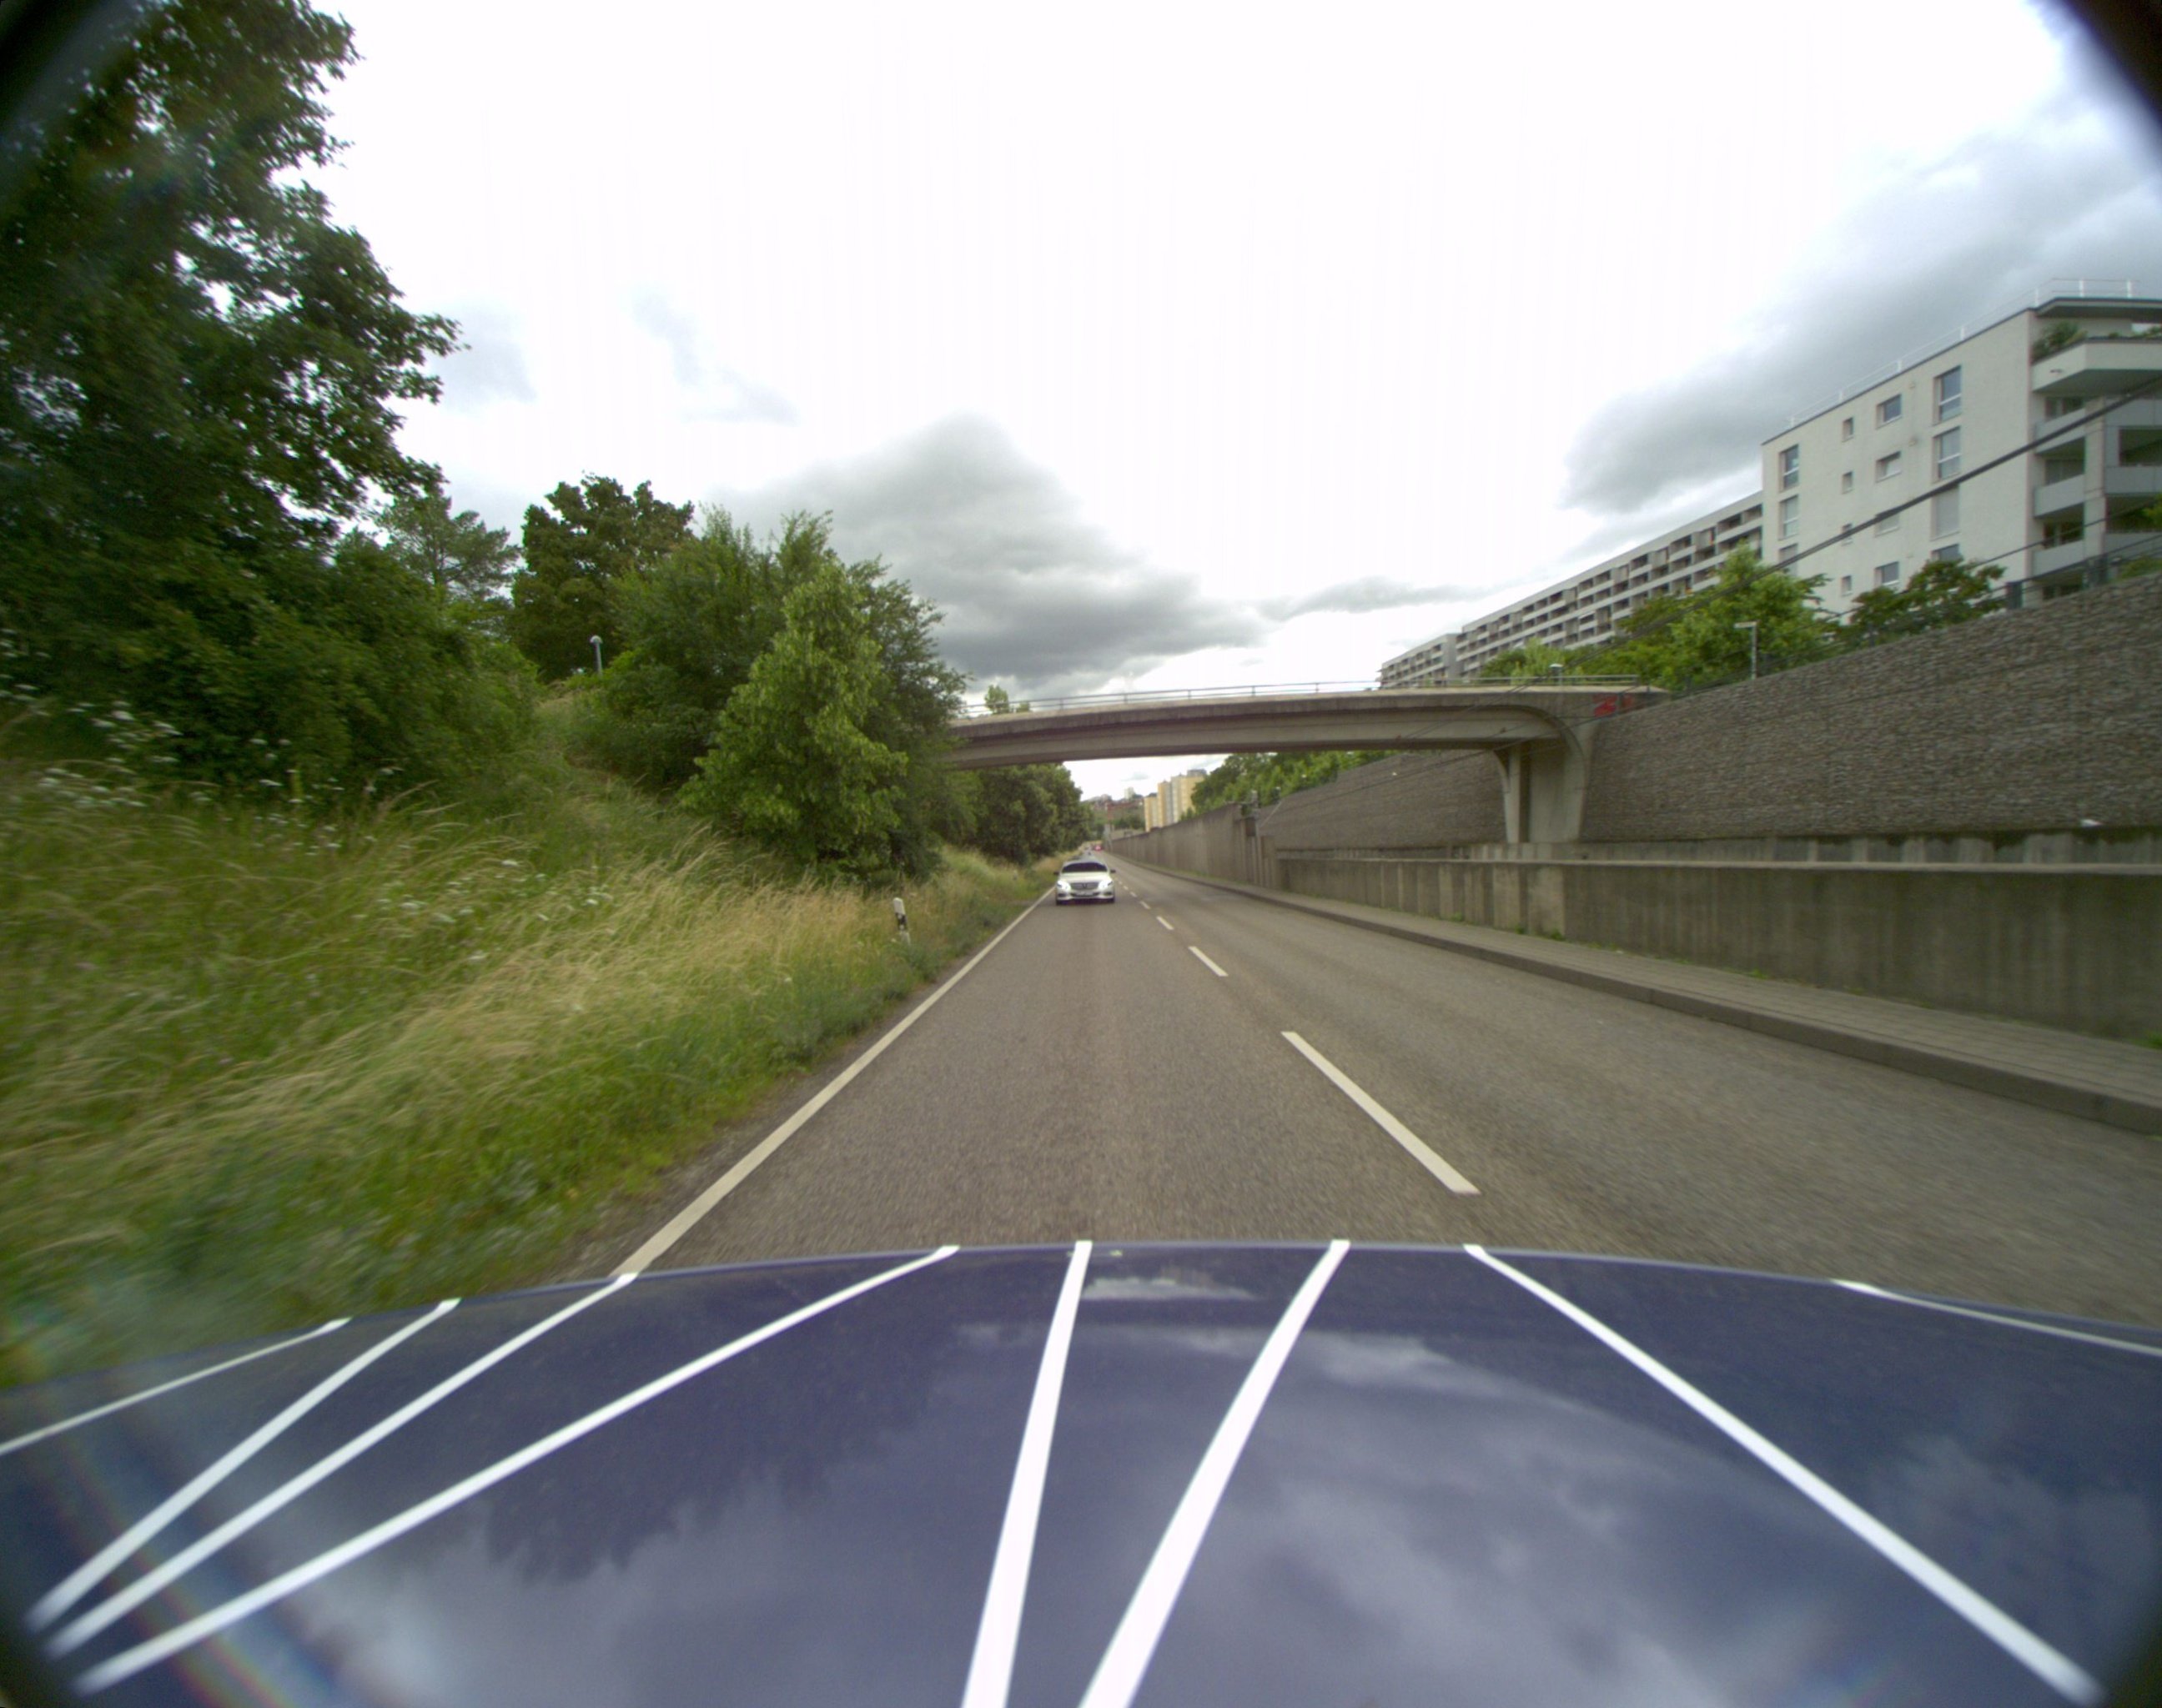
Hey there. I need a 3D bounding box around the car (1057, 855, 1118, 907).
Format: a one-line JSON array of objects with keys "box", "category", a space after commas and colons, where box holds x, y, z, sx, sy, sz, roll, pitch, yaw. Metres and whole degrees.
[{"box": [0.245, 0.821, 25.432, 1.842, 1.499, 4.160, -2, 1, 1], "category": "car"}]

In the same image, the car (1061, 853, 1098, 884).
[{"box": [-0.045, 0.742, 41.545, 1.878, 1.459, 3.999, -2, 1, 1], "category": "car"}]

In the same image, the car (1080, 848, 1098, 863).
[{"box": [0.969, 0.164, 90.167, 1.998, 1.746, 4.000, -2, 1, 1], "category": "car"}]
